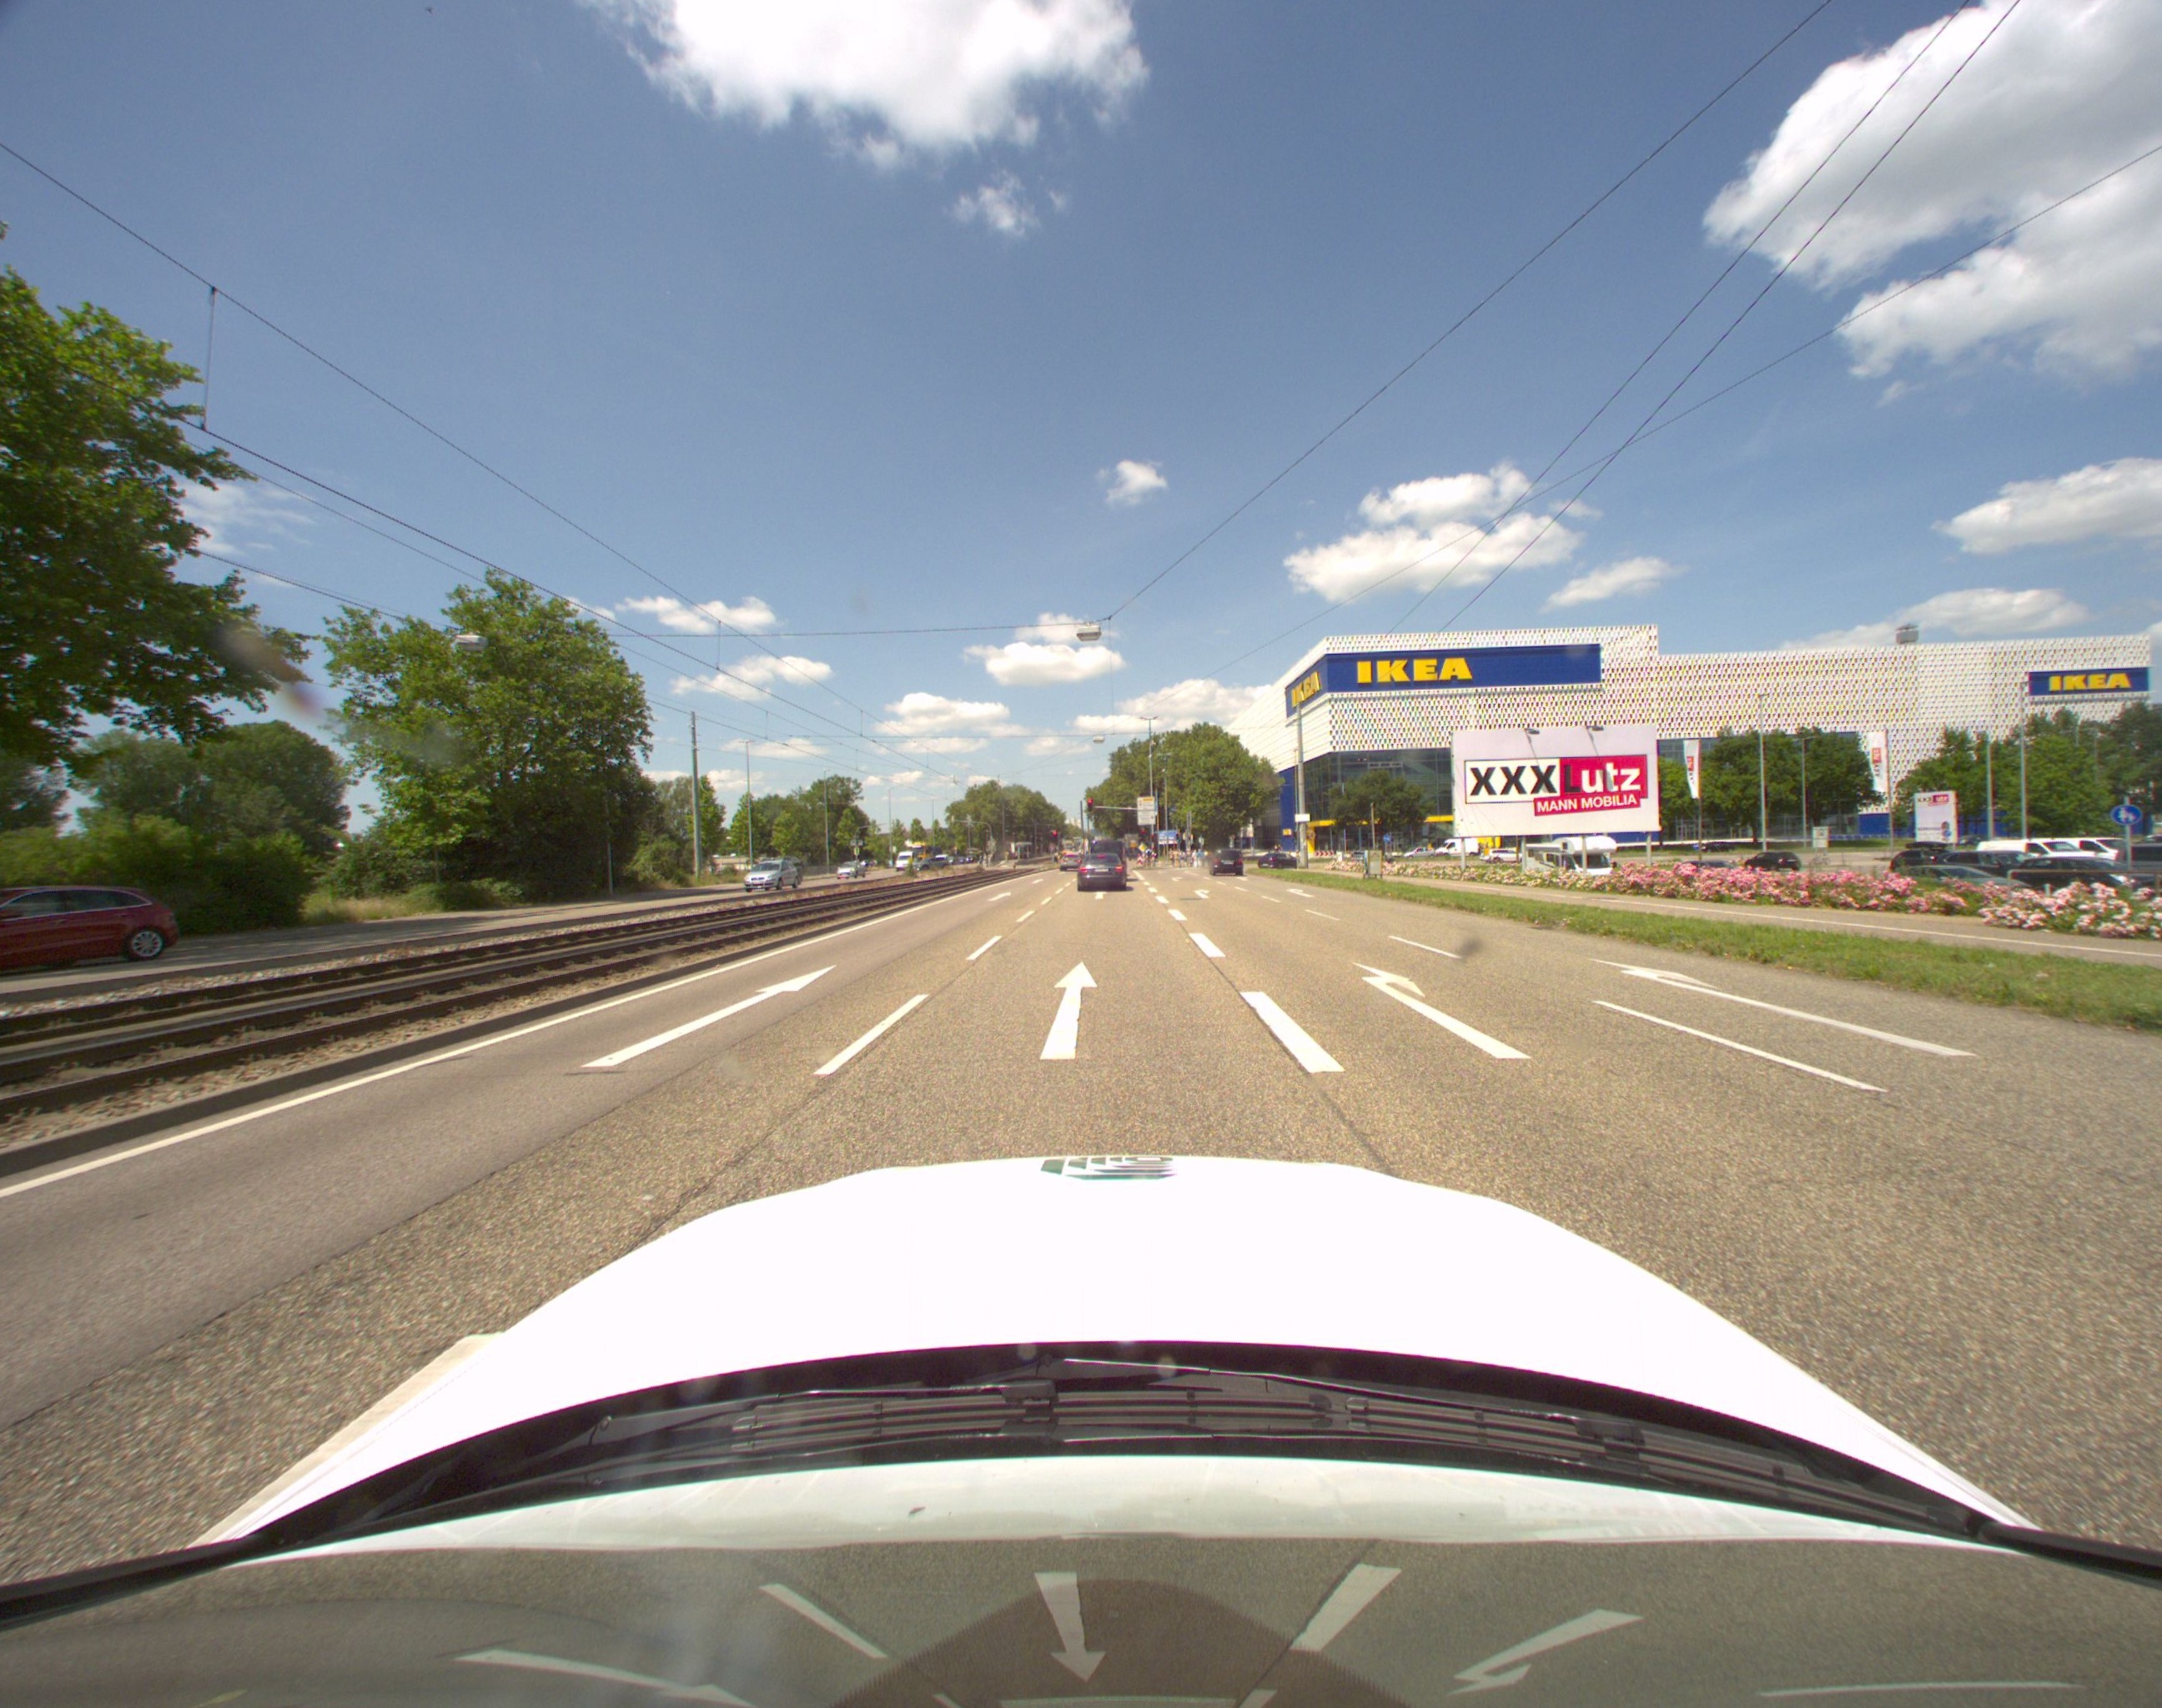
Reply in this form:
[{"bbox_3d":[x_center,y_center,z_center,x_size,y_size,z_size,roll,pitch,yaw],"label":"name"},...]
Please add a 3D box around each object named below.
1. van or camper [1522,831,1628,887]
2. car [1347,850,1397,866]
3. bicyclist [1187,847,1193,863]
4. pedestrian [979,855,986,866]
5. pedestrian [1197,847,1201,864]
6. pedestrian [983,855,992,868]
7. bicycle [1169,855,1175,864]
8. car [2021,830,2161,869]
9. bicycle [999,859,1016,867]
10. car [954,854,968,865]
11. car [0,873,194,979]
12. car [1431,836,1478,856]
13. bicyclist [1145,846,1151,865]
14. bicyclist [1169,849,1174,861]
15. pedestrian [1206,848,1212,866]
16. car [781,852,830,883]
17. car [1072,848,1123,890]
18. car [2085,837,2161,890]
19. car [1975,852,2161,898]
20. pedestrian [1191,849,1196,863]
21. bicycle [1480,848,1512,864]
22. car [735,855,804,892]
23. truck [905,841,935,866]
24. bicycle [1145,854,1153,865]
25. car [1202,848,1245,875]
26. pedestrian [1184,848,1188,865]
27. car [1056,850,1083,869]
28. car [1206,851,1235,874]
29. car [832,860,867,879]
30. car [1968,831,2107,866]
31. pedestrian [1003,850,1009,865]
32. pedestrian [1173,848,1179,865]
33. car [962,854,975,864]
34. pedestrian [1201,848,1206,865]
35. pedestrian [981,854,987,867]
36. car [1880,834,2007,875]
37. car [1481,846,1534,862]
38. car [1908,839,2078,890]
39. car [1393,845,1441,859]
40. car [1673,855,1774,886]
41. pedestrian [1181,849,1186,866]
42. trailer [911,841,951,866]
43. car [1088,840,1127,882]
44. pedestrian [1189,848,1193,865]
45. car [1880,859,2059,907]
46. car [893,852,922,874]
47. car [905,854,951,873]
[{"bbox_3d":[29.058,0.254,48.312,2.494,3.020,7.235,-1,0,6],"label":"van or camper"},{"bbox_3d":[27.314,0.393,76.447,4.149,1.486,1.985,0,0,-23],"label":"car"},{"bbox_3d":[11.904,0.121,88.730,0.525,1.764,0.831,-1,0,15],"label":"bicyclist"},{"bbox_3d":[-12.234,0.806,101.252,0.683,1.443,0.572,-1,0,-2],"label":"pedestrian"},{"bbox_3d":[11.082,0.137,76.640,0.319,1.635,0.377,-1,0,5],"label":"pedestrian"},{"bbox_3d":[-11.940,0.953,103.854,0.816,1.720,0.779,-1,0,24],"label":"pedestrian"},{"bbox_3d":[8.791,0.544,78.666,0.547,0.877,1.700,-1,0,5],"label":"bicycle"},{"bbox_3d":[55.661,-0.247,44.926,1.986,2.007,5.003,-1,0,2],"label":"car"},{"bbox_3d":[-9.114,1.076,100.735,2.054,0.925,0.751,-1,0,-8],"label":"bicycle"},{"bbox_3d":[-21.582,0.964,147.065,1.811,1.883,4.002,-1,0,2],"label":"car"},{"bbox_3d":[-18.958,1.301,14.183,1.987,1.670,4.468,-3,0,0],"label":"car"},{"bbox_3d":[44.420,-0.916,96.897,4.733,2.309,2.004,-1,0,8],"label":"car"},{"bbox_3d":[6.362,0.129,76.999,0.526,1.789,1.089,-1,0,3],"label":"bicyclist"},{"bbox_3d":[8.770,0.078,78.718,0.468,1.193,0.792,-1,0,5],"label":"bicyclist"},{"bbox_3d":[12.393,0.291,78.675,0.518,1.670,0.495,-1,0,5],"label":"pedestrian"},{"bbox_3d":[-18.615,0.870,55.194,1.991,1.830,4.959,-4,0,-6],"label":"car"},{"bbox_3d":[0.685,0.542,31.512,1.785,1.455,4.002,-2,0,2],"label":"car"},{"bbox_3d":[42.161,0.357,30.671,1.986,2.013,5.538,-1,0,2],"label":"car"},{"bbox_3d":[37.375,0.731,30.695,1.986,1.550,5.003,-1,0,2],"label":"car"},{"bbox_3d":[10.594,0.226,76.721,0.371,1.303,0.365,-1,0,5],"label":"pedestrian"},{"bbox_3d":[38.018,0.176,74.606,2.410,1.481,0.990,-1,0,6],"label":"bicycle"},{"bbox_3d":[-15.230,0.916,40.007,1.680,1.583,4.059,-4,0,0],"label":"car"},{"bbox_3d":[-23.392,-0.060,118.601,2.757,3.569,6.442,-1,0,2],"label":"truck"},{"bbox_3d":[6.462,0.501,77.301,0.685,0.993,2.753,-1,0,3],"label":"bicycle"},{"bbox_3d":[8.244,0.397,47.400,1.986,1.486,4.002,0,0,2],"label":"car"},{"bbox_3d":[10.195,0.226,78.832,0.379,1.635,0.377,-1,0,5],"label":"pedestrian"},{"bbox_3d":[-0.873,0.407,64.444,1.986,1.486,4.002,0,0,2],"label":"car"},{"bbox_3d":[9.823,0.565,57.208,1.981,1.486,4.178,0,0,10],"label":"car"},{"bbox_3d":[-19.984,1.308,70.435,1.817,1.416,3.882,-4,0,-1],"label":"car"},{"bbox_3d":[53.104,-0.304,45.375,1.986,1.852,5.003,-1,0,2],"label":"car"},{"bbox_3d":[-10.180,0.534,110.831,0.683,2.013,0.572,-1,0,-2],"label":"pedestrian"},{"bbox_3d":[8.973,0.250,76.713,0.551,1.635,0.433,-1,0,5],"label":"pedestrian"},{"bbox_3d":[-21.252,0.969,154.263,1.811,1.883,4.002,-1,0,2],"label":"car"},{"bbox_3d":[11.830,0.207,78.688,0.501,1.635,0.449,-1,0,5],"label":"pedestrian"},{"bbox_3d":[-11.943,0.828,100.321,0.683,1.637,0.572,-1,0,-2],"label":"pedestrian"},{"bbox_3d":[48.206,0.028,45.701,1.986,2.134,5.003,-1,0,2],"label":"car"},{"bbox_3d":[42.991,-0.010,82.175,4.345,1.486,2.007,0,0,13],"label":"car"},{"bbox_3d":[40.137,0.427,36.063,1.986,2.013,5.003,-3,0,2],"label":"car"},{"bbox_3d":[37.196,-0.221,90.265,4.475,1.486,2.003,0,0,5],"label":"car"},{"bbox_3d":[35.849,0.898,45.646,1.986,1.537,4.772,-2,0,2],"label":"car"},{"bbox_3d":[9.629,0.345,76.647,0.443,1.635,0.430,-1,0,5],"label":"pedestrian"},{"bbox_3d":[-23.122,-0.091,126.887,2.756,3.518,15.885,-1,0,2],"label":"trailer"},{"bbox_3d":[1.326,0.313,41.101,1.830,1.950,4.002,-1,0,2],"label":"car"},{"bbox_3d":[10.649,0.237,78.716,0.337,1.635,0.377,-1,0,5],"label":"pedestrian"},{"bbox_3d":[32.792,1.014,30.276,1.986,1.496,4.305,-4,0,2],"label":"car"},{"bbox_3d":[-23.255,1.137,109.289,2.235,2.588,6.236,-4,1,1],"label":"car"},{"bbox_3d":[-16.058,1.010,85.726,1.975,1.918,4.436,1,1,45],"label":"car"}]
